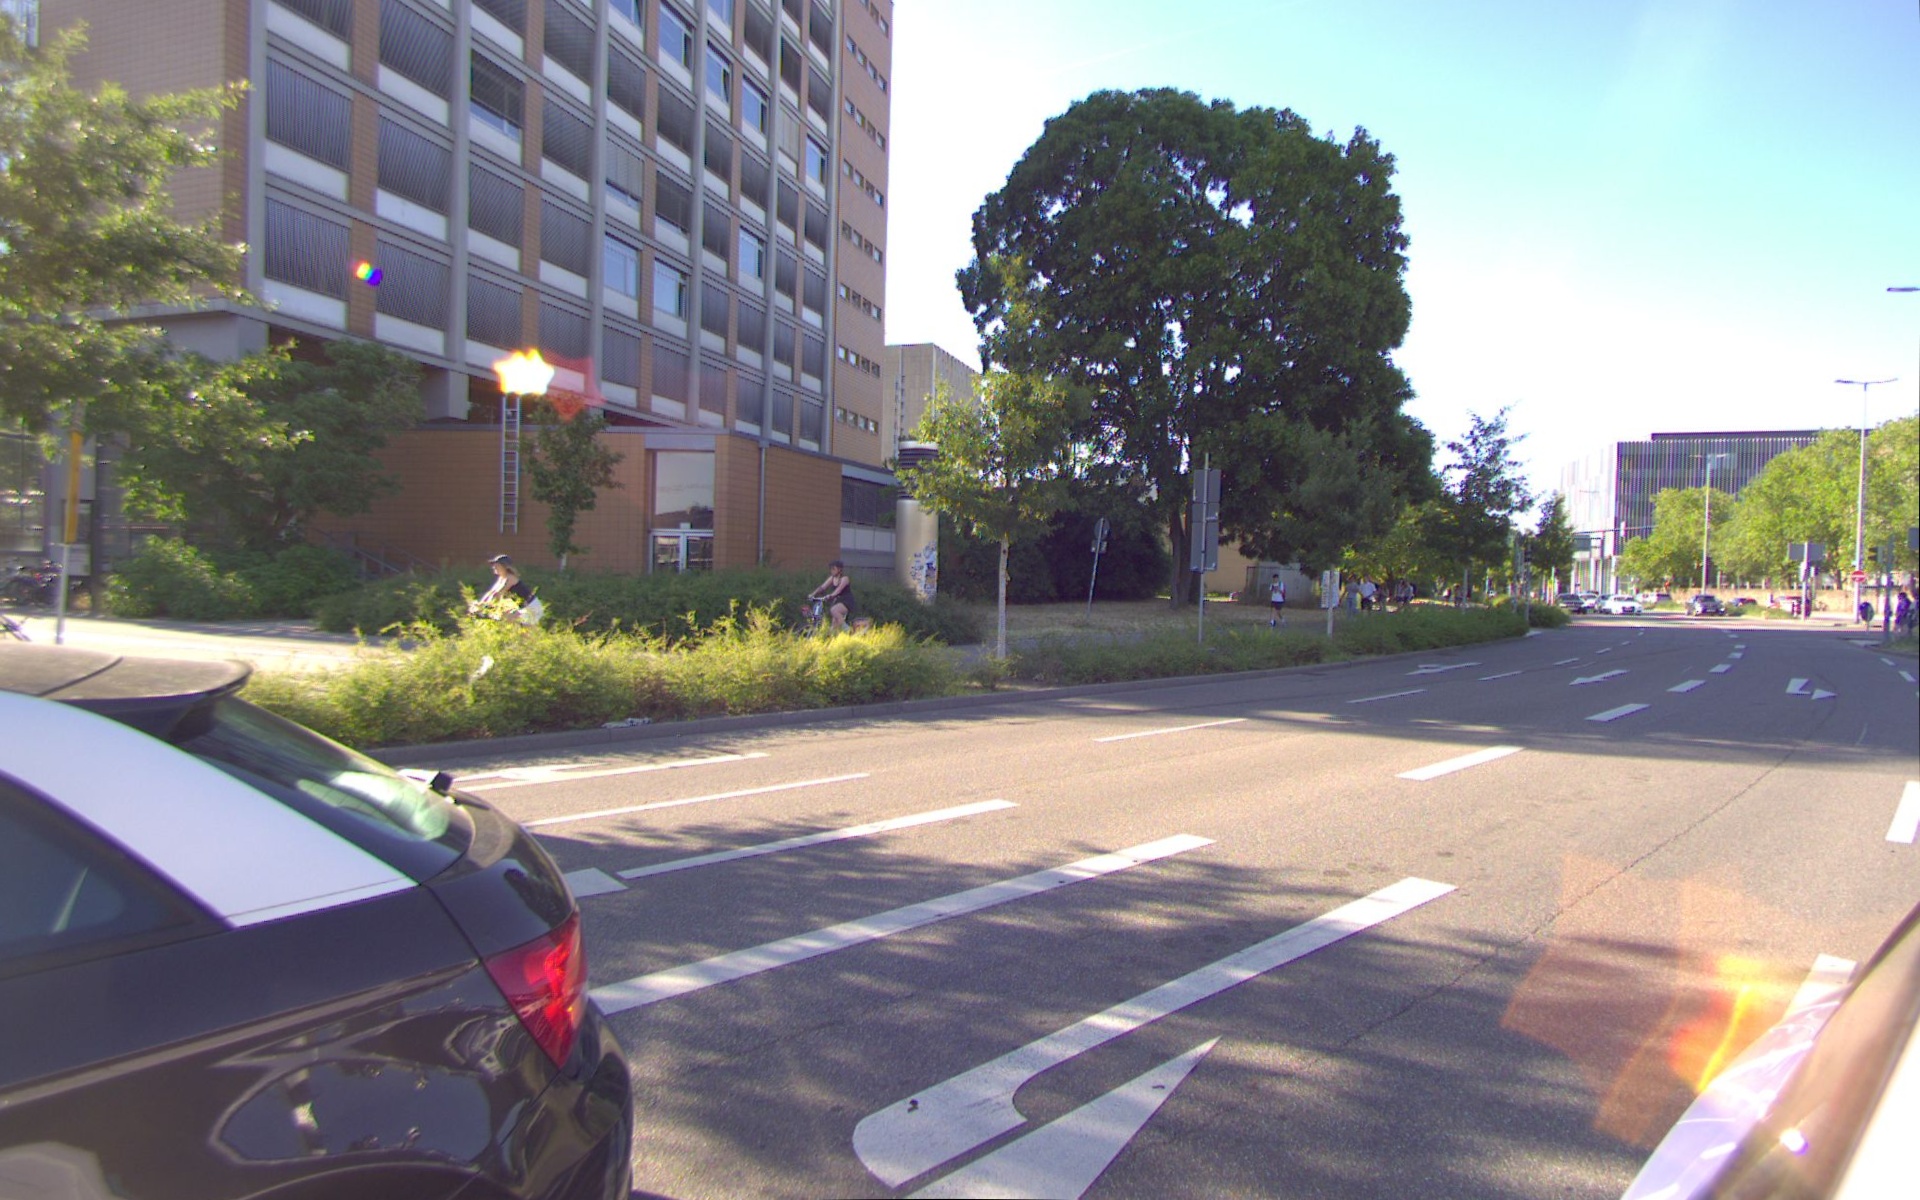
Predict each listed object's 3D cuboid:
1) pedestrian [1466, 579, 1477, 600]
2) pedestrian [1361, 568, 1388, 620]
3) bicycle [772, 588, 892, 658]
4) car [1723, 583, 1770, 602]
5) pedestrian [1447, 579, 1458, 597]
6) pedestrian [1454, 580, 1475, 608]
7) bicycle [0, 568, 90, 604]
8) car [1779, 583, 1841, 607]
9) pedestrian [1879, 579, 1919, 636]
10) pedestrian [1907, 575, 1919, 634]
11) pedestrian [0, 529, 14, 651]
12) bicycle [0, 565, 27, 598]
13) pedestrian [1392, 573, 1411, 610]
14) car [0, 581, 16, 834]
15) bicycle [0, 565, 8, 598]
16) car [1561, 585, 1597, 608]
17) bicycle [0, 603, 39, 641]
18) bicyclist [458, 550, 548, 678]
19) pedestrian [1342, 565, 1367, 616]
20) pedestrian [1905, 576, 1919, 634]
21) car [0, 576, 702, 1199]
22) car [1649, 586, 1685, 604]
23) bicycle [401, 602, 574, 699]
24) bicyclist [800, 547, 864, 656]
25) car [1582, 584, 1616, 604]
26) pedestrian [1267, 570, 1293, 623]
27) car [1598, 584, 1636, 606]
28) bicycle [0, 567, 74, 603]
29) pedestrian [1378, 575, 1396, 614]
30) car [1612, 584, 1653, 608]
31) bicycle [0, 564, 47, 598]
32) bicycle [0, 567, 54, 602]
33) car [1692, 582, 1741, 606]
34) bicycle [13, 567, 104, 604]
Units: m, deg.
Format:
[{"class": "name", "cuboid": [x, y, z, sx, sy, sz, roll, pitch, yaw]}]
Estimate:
[{"class": "pedestrian", "cuboid": [43.145, -0.884, 85.317, 0.705, 1.734, 0.728, 2, 1, 24]}, {"class": "pedestrian", "cuboid": [15.145, -0.228, 36.980, 0.609, 1.892, 0.578, 1, 1, -15]}, {"class": "bicycle", "cuboid": [-2.181, 0.363, 17.478, 2.032, 1.135, 0.718, -1, 0, -43]}, {"class": "car", "cuboid": [69.063, -0.704, 88.936, 2.172, 1.605, 4.569, 2, 2, 24]}, {"class": "pedestrian", "cuboid": [43.048, -1.047, 88.462, 0.753, 1.562, 0.842, 2, 2, 18]}, {"class": "pedestrian", "cuboid": [32.777, -0.417, 65.741, 1.005, 1.771, 0.845, 2, 1, 18]}, {"class": "bicycle", "cuboid": [-22.836, -0.364, 25.269, 0.522, 0.868, 1.644, 2, 2, 18]}, {"class": "car", "cuboid": [60.376, -0.378, 71.970, 2.173, 1.605, 4.568, 2, 2, 25]}, {"class": "pedestrian", "cuboid": [29.865, 0.226, 32.111, 0.923, 1.762, 0.746, 2, 2, 39]}, {"class": "pedestrian", "cuboid": [28.862, 0.140, 30.075, 0.923, 1.762, 0.746, 2, 2, 39]}, {"class": "pedestrian", "cuboid": [-13.551, -0.135, 13.754, 0.774, 1.680, 0.810, 0, -1, -24]}, {"class": "bicycle", "cuboid": [-25.497, -0.485, 26.409, 0.522, 0.868, 1.644, 2, 2, 18]}, {"class": "pedestrian", "cuboid": [20.942, -0.429, 48.012, 0.667, 1.725, 0.872, 2, 1, 18]}, {"class": "car", "cuboid": [-6.997, 0.628, 4.538, 3.907, 1.462, 1.805, 0, 0, -39]}, {"class": "bicycle", "cuboid": [-26.132, -0.492, 26.555, 0.522, 0.868, 1.644, 2, 2, 18]}, {"class": "car", "cuboid": [43.926, -0.262, 71.868, 1.786, 1.538, 3.964, 2, 2, 26]}, {"class": "bicycle", "cuboid": [-14.525, 0.329, 14.917, 0.428, 0.546, 1.340, 4, 2, 35]}, {"class": "bicyclist", "cuboid": [-5.829, 0.173, 12.916, 0.834, 1.568, 0.716, 2, -1, -41]}, {"class": "pedestrian", "cuboid": [14.657, -0.364, 37.591, 0.609, 1.892, 0.578, 1, 1, -15]}, {"class": "pedestrian", "cuboid": [29.385, 0.160, 30.707, 0.923, 1.762, 0.746, 2, 2, 39]}, {"class": "car", "cuboid": [-2.472, 0.700, 1.050, 3.911, 1.462, 1.803, 0, 0, -43]}, {"class": "car", "cuboid": [72.719, -0.565, 104.170, 2.171, 1.705, 4.570, 2, 2, 24]}, {"class": "bicycle", "cuboid": [-5.952, 0.623, 12.813, 1.836, 1.135, 0.718, 2, -1, -41]}, {"class": "bicyclist", "cuboid": [-2.208, 0.017, 17.458, 0.835, 1.810, 0.716, 0, 0, -43]}, {"class": "car", "cuboid": [53.072, -0.551, 84.146, 1.907, 1.538, 3.981, 2, 2, 26]}, {"class": "pedestrian", "cuboid": [10.461, -0.124, 33.084, 0.618, 1.720, 0.623, 2, 1, 32]}, {"class": "car", "cuboid": [50.587, -0.422, 77.977, 1.907, 1.538, 3.981, 2, 2, 26]}, {"class": "bicycle", "cuboid": [-23.387, -0.380, 25.431, 0.522, 0.868, 1.644, 2, 2, 18]}, {"class": "pedestrian", "cuboid": [17.924, -0.244, 42.488, 0.616, 1.594, 0.634, 2, 1, 24]}, {"class": "car", "cuboid": [47.418, -0.330, 71.427, 1.786, 1.538, 4.391, 2, 2, 26]}, {"class": "bicycle", "cuboid": [-24.808, -0.497, 26.243, 0.522, 0.868, 1.644, 2, 2, 18]}, {"class": "bicycle", "cuboid": [-23.997, -0.399, 25.551, 0.522, 0.868, 1.644, 2, 2, 18]}, {"class": "car", "cuboid": [51.491, -0.448, 68.928, 1.907, 1.538, 3.981, 2, 2, 26]}, {"class": "bicycle", "cuboid": [-22.313, -0.360, 25.083, 0.522, 0.868, 1.644, 2, 2, 18]}]
